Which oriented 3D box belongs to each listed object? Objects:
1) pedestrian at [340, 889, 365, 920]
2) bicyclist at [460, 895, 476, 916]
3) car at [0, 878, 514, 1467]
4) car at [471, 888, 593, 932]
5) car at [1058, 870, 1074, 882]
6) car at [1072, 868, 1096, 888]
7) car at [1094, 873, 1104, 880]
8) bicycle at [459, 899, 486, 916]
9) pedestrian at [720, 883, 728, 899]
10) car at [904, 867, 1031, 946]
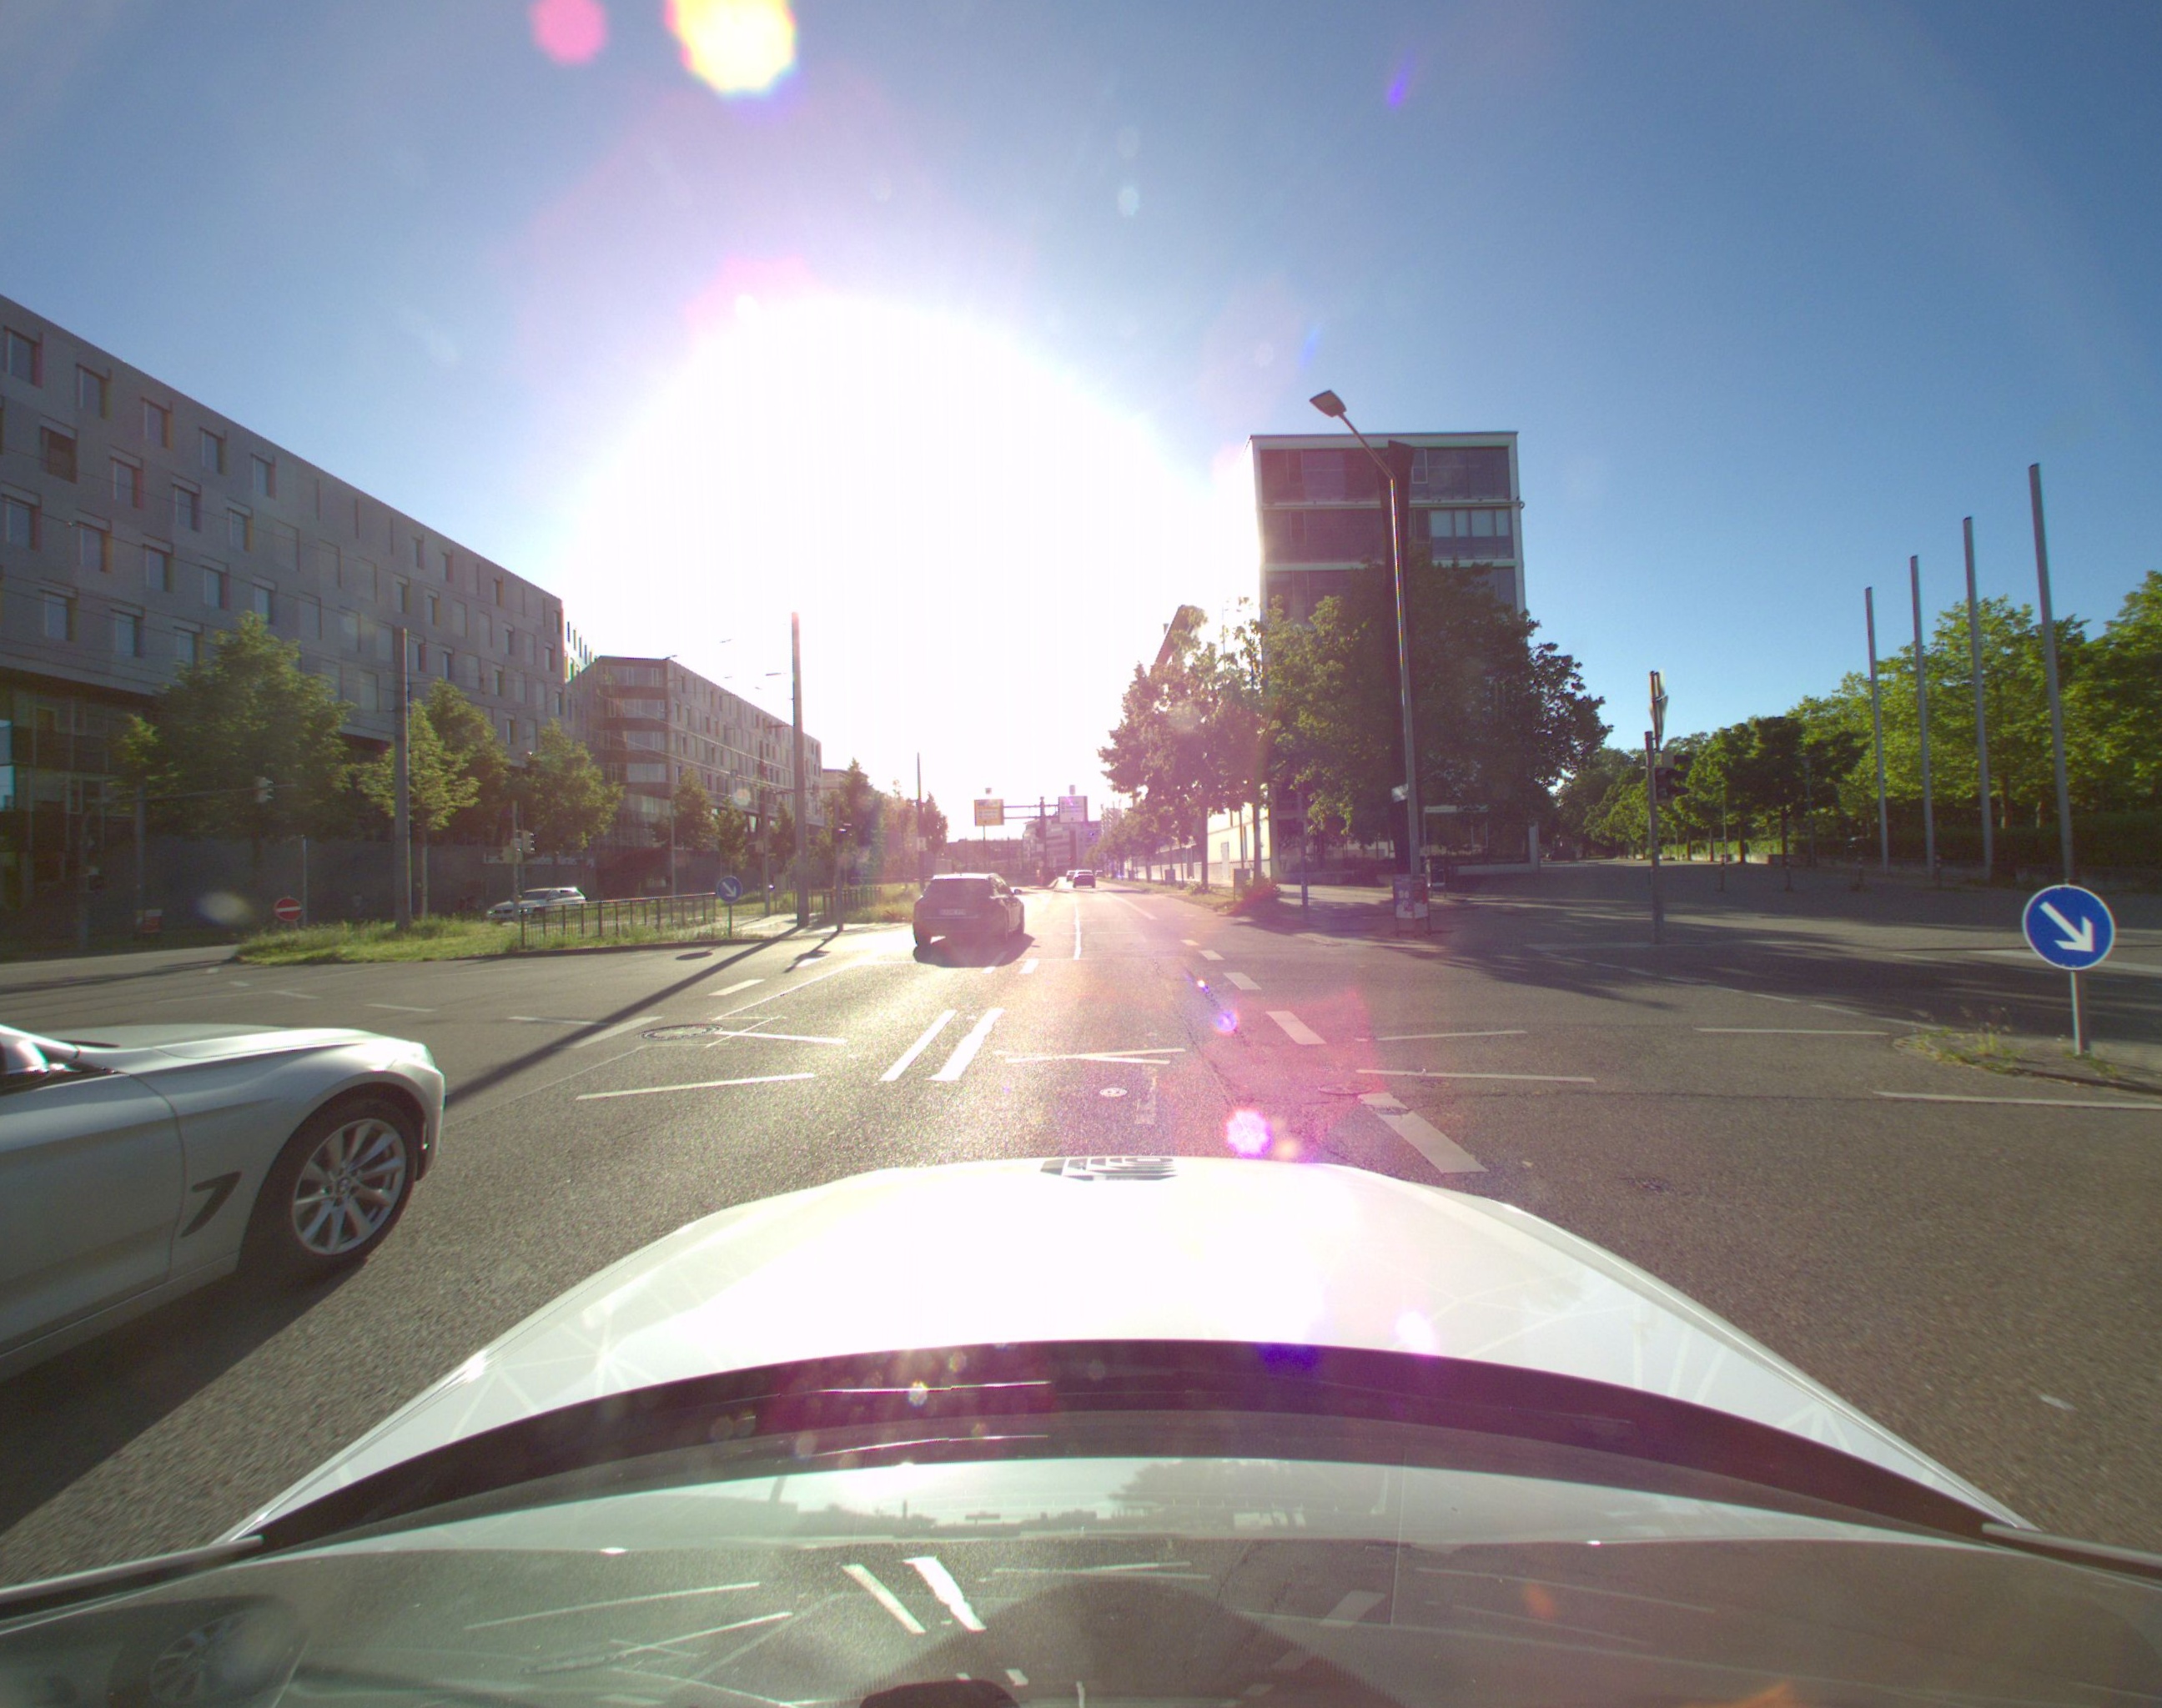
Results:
[{"bbox_3d":[-43.858,3.051,49.033,0.719,1.822,0.871,-2,-1,-1],"label":"pedestrian"},{"bbox_3d":[-44.758,3.731,59.437,0.557,1.496,0.762,-2,-1,-1],"label":"bicyclist"},{"bbox_3d":[-3.707,0.830,1.643,1.794,1.527,4.906,0,-1,-2],"label":"car"},{"bbox_3d":[-23.028,2.289,34.421,1.989,1.562,4.867,-2,-1,-2],"label":"car"},{"bbox_3d":[-1.919,2.895,105.798,1.987,1.465,3.999,-1,-1,-1],"label":"car"},{"bbox_3d":[0.190,1.932,65.181,1.847,1.546,3.997,-1,-1,-1],"label":"car"},{"bbox_3d":[3.896,4.792,175.321,1.848,1.481,4.849,-4,-1,-2],"label":"car"},{"bbox_3d":[-44.405,3.881,59.442,0.518,1.172,1.974,-2,-1,-1],"label":"bicycle"},{"bbox_3d":[-46.180,4.790,105.358,0.734,2.014,0.689,-2,-2,-1],"label":"pedestrian"},{"bbox_3d":[-2.299,1.065,17.738,1.805,1.427,4.693,-2,-2,3],"label":"car"}]
